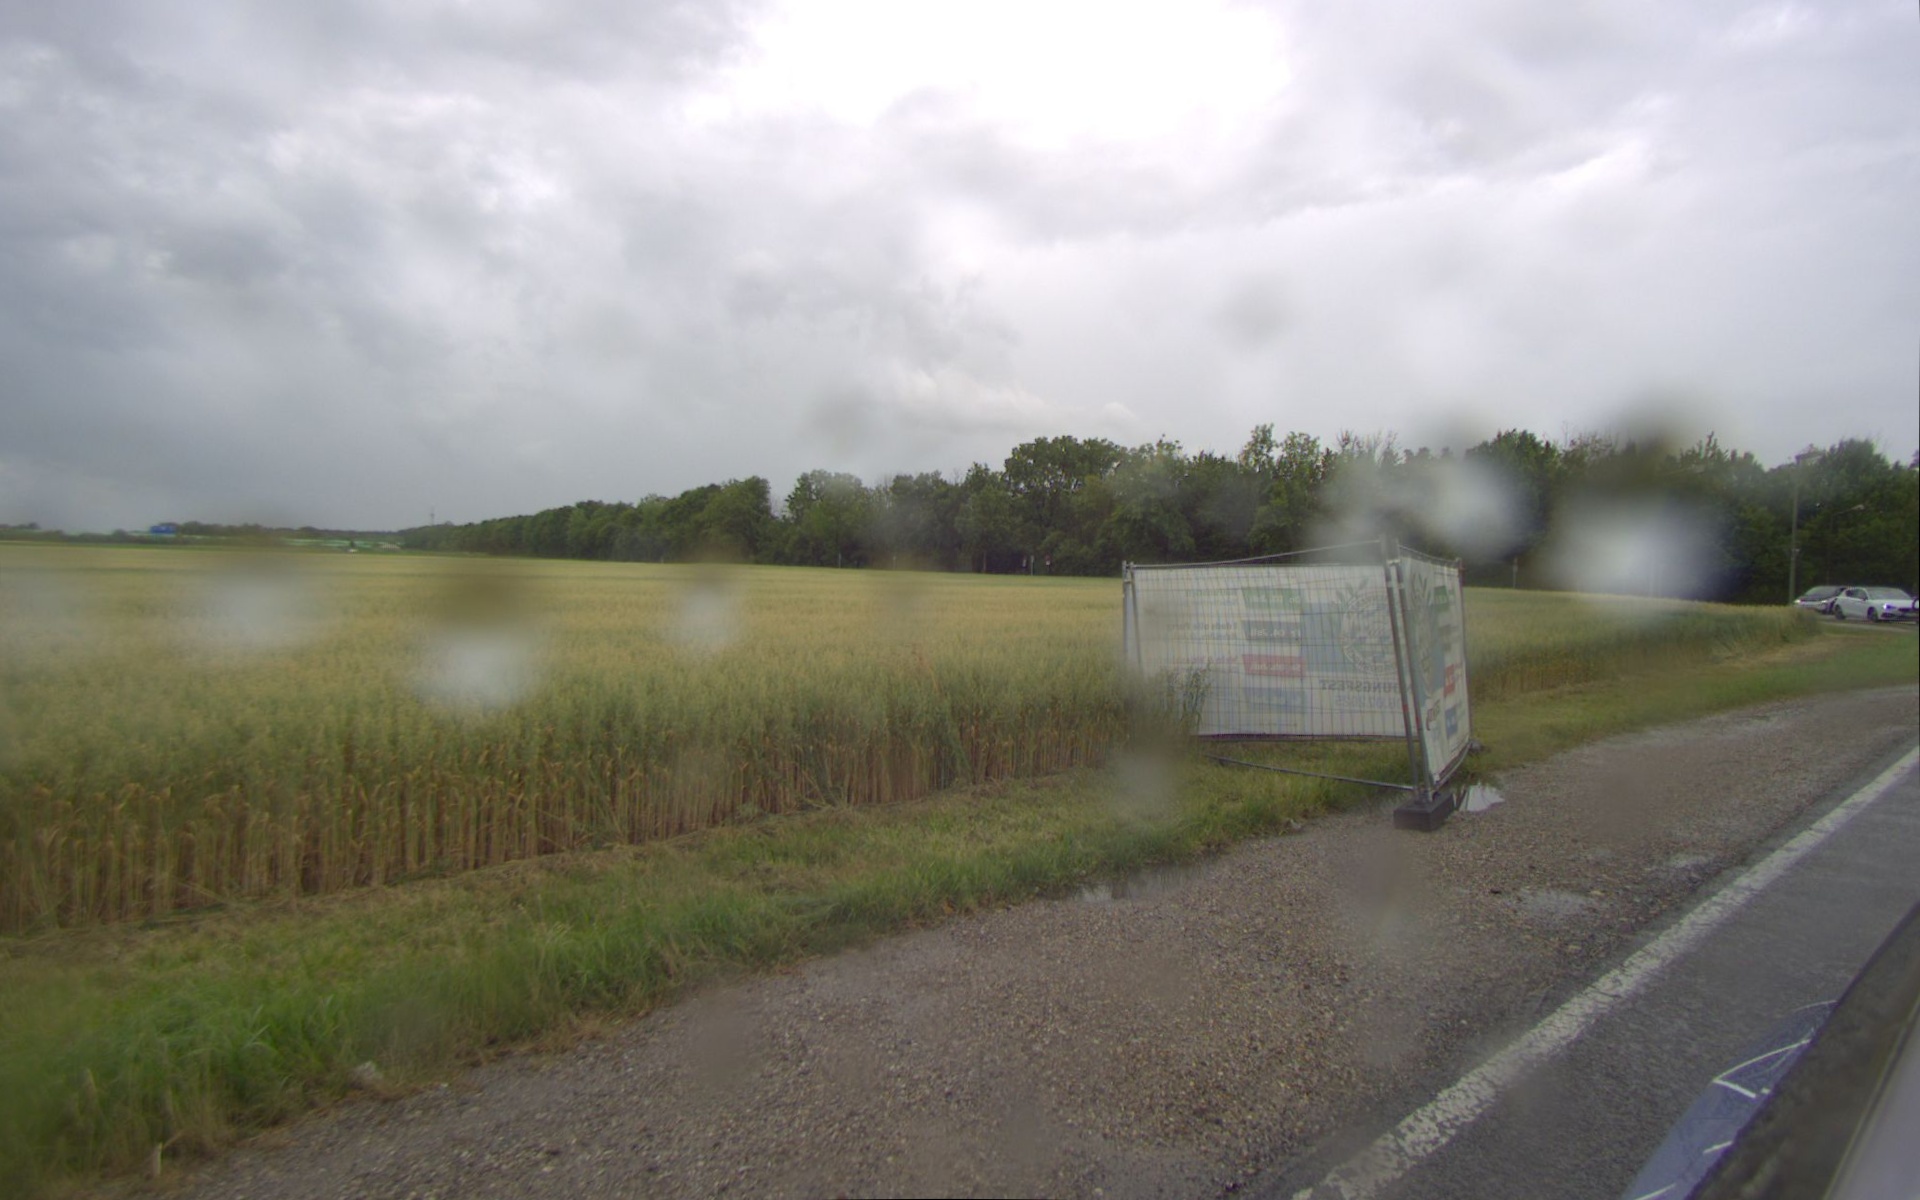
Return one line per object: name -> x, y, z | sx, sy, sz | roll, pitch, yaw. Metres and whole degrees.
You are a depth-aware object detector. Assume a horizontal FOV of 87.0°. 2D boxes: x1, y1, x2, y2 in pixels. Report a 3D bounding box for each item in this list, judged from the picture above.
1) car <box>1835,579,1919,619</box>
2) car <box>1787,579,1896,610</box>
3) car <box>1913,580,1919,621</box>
car -> 38.006, -0.052, 41.293 | 1.868, 1.550, 4.476 | 1, 1, 18
car -> 46.435, -0.305, 53.341 | 4.410, 1.550, 1.896 | 0, 1, -8
car -> 36.101, 0.052, 35.433 | 1.868, 1.550, 5.225 | 1, 1, 18
